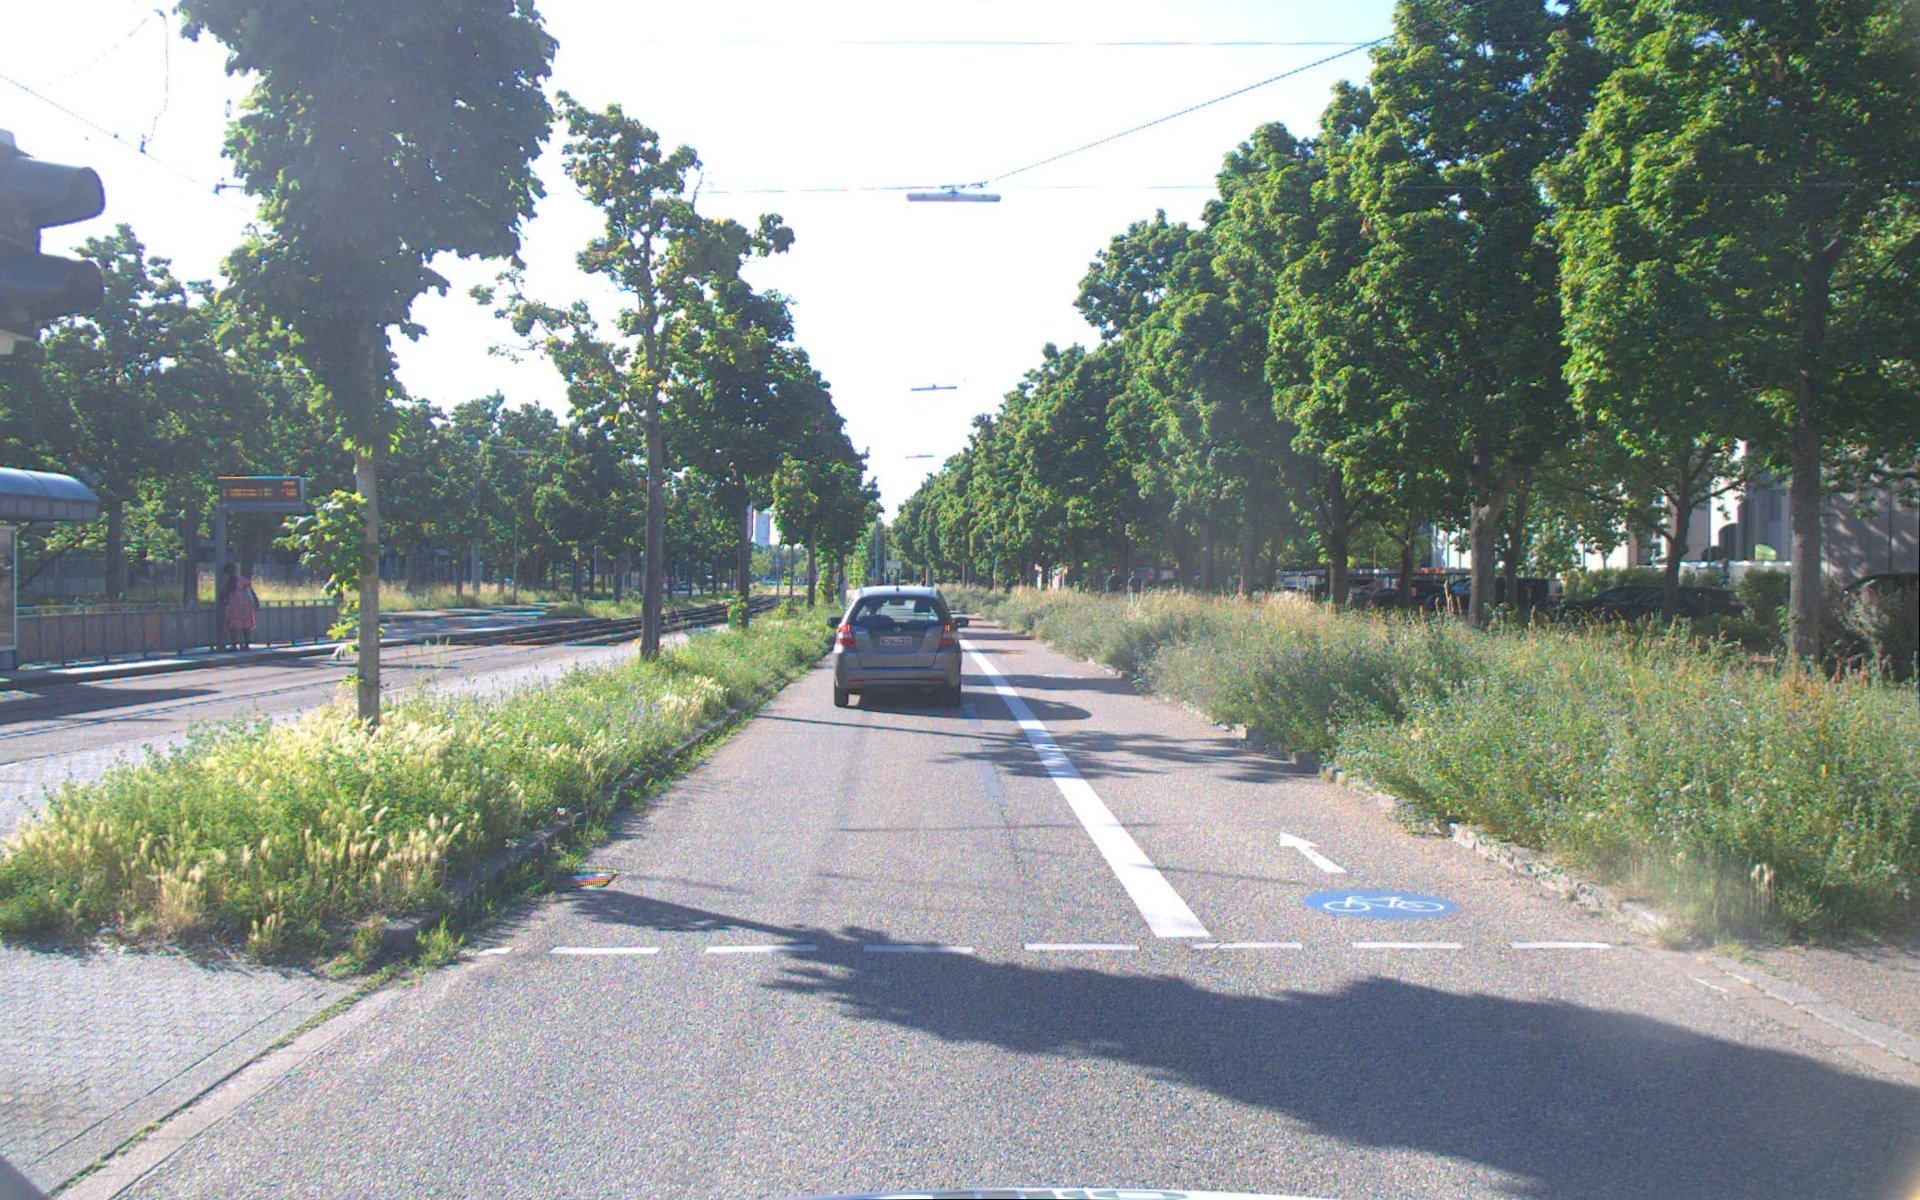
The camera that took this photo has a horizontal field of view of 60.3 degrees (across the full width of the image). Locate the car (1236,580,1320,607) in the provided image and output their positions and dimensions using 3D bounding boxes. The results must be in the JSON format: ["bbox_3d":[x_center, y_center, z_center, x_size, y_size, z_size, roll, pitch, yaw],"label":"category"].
[{"bbox_3d":[18.750,-0.392,97.646,4.542,1.583,1.997,0,0,-6],"label":"car"}]

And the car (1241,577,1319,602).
[{"bbox_3d":[20.396,-0.653,105.523,4.542,1.583,1.997,0,0,-6],"label":"car"}]

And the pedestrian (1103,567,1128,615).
[{"bbox_3d":[6.345,-0.363,67.546,0.864,1.917,0.875,0,0,-4],"label":"pedestrian"}]

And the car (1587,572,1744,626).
[{"bbox_3d":[21.519,-0.036,50.499,4.146,1.583,1.921,0,0,35],"label":"car"}]

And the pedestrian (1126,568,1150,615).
[{"bbox_3d":[7.266,-0.335,67.561,0.864,1.917,0.875,0,0,-4],"label":"pedestrian"}]

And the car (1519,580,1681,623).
[{"bbox_3d":[20.809,0.027,53.828,4.590,1.350,2.085,0,0,35],"label":"car"}]

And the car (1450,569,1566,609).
[{"bbox_3d":[21.384,-0.435,64.575,3.920,1.539,1.993,0,0,36],"label":"car"}]

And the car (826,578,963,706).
[{"bbox_3d":[-0.812,0.543,22.348,1.666,1.550,3.709,1,-1,0],"label":"car"}]

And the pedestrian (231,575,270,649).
[{"bbox_3d":[-14.249,0.241,33.226,0.533,1.473,0.559,-1,-1,0],"label":"pedestrian"}]

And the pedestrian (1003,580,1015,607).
[{"bbox_3d":[3.081,-0.407,104.520,0.710,1.720,0.820,0,0,-2],"label":"pedestrian"}]
